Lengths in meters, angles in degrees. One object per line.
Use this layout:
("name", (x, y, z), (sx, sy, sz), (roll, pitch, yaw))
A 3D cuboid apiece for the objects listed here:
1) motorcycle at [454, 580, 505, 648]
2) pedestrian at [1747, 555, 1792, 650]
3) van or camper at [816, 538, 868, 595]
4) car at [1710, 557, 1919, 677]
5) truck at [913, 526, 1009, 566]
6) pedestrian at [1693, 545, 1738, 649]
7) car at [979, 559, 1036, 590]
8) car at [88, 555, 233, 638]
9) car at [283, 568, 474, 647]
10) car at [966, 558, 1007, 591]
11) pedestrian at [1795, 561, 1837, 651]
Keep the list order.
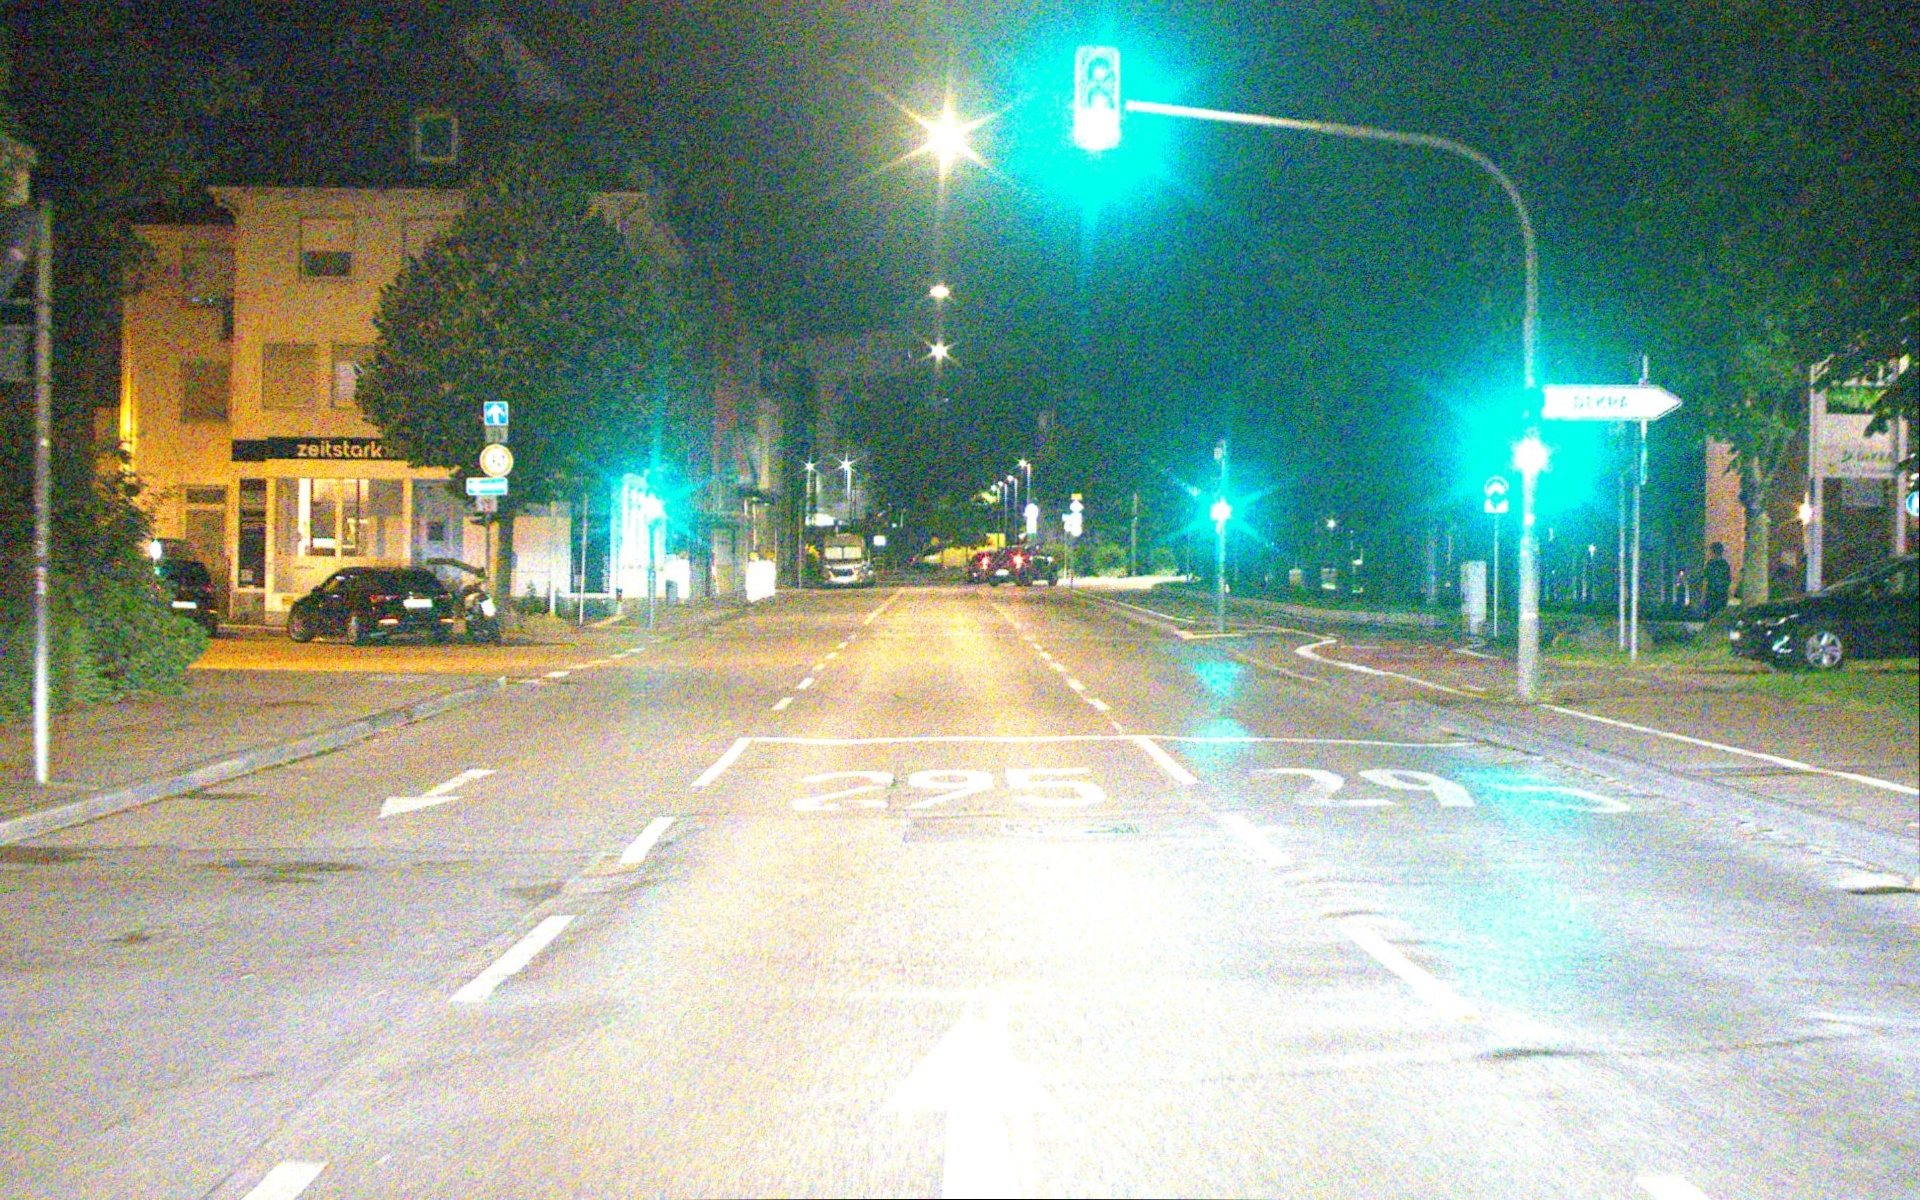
("motorcycle", (-8.554, 0.235, 61.162), (0.571, 1.176, 2.033), (0, 1, -17))
("pedestrian", (14.095, 0.041, 59.893), (0.621, 1.633, 0.679), (0, 0, 0))
("van or camper", (-5.446, -1.524, 159.405), (2.158, 2.527, 6.227), (-2, 0, -1))
("car", (11.513, 0.198, 42.497), (4.081, 1.449, 1.787), (0, 0, -1))
("truck", (0.051, -3.879, 247.447), (6.775, 2.835, 2.000), (1, 1, -3))
("pedestrian", (13.232, -0.050, 60.232), (0.621, 1.805, 0.759), (0, 0, 0))
("car", (2.131, -1.147, 154.058), (1.664, 1.338, 3.623), (0, 0, 16))
("car", (-17.032, -0.081, 73.140), (1.913, 1.639, 4.111), (3, -1, -28))
("car", (-10.929, 0.127, 64.384), (1.886, 1.419, 4.729), (-1, 1, -31))
("car", (1.313, -1.251, 169.927), (1.884, 1.597, 4.107), (-1, 0, 2))
("pedestrian", (14.715, 0.103, 59.097), (0.572, 1.528, 0.633), (0, 0, 0))
